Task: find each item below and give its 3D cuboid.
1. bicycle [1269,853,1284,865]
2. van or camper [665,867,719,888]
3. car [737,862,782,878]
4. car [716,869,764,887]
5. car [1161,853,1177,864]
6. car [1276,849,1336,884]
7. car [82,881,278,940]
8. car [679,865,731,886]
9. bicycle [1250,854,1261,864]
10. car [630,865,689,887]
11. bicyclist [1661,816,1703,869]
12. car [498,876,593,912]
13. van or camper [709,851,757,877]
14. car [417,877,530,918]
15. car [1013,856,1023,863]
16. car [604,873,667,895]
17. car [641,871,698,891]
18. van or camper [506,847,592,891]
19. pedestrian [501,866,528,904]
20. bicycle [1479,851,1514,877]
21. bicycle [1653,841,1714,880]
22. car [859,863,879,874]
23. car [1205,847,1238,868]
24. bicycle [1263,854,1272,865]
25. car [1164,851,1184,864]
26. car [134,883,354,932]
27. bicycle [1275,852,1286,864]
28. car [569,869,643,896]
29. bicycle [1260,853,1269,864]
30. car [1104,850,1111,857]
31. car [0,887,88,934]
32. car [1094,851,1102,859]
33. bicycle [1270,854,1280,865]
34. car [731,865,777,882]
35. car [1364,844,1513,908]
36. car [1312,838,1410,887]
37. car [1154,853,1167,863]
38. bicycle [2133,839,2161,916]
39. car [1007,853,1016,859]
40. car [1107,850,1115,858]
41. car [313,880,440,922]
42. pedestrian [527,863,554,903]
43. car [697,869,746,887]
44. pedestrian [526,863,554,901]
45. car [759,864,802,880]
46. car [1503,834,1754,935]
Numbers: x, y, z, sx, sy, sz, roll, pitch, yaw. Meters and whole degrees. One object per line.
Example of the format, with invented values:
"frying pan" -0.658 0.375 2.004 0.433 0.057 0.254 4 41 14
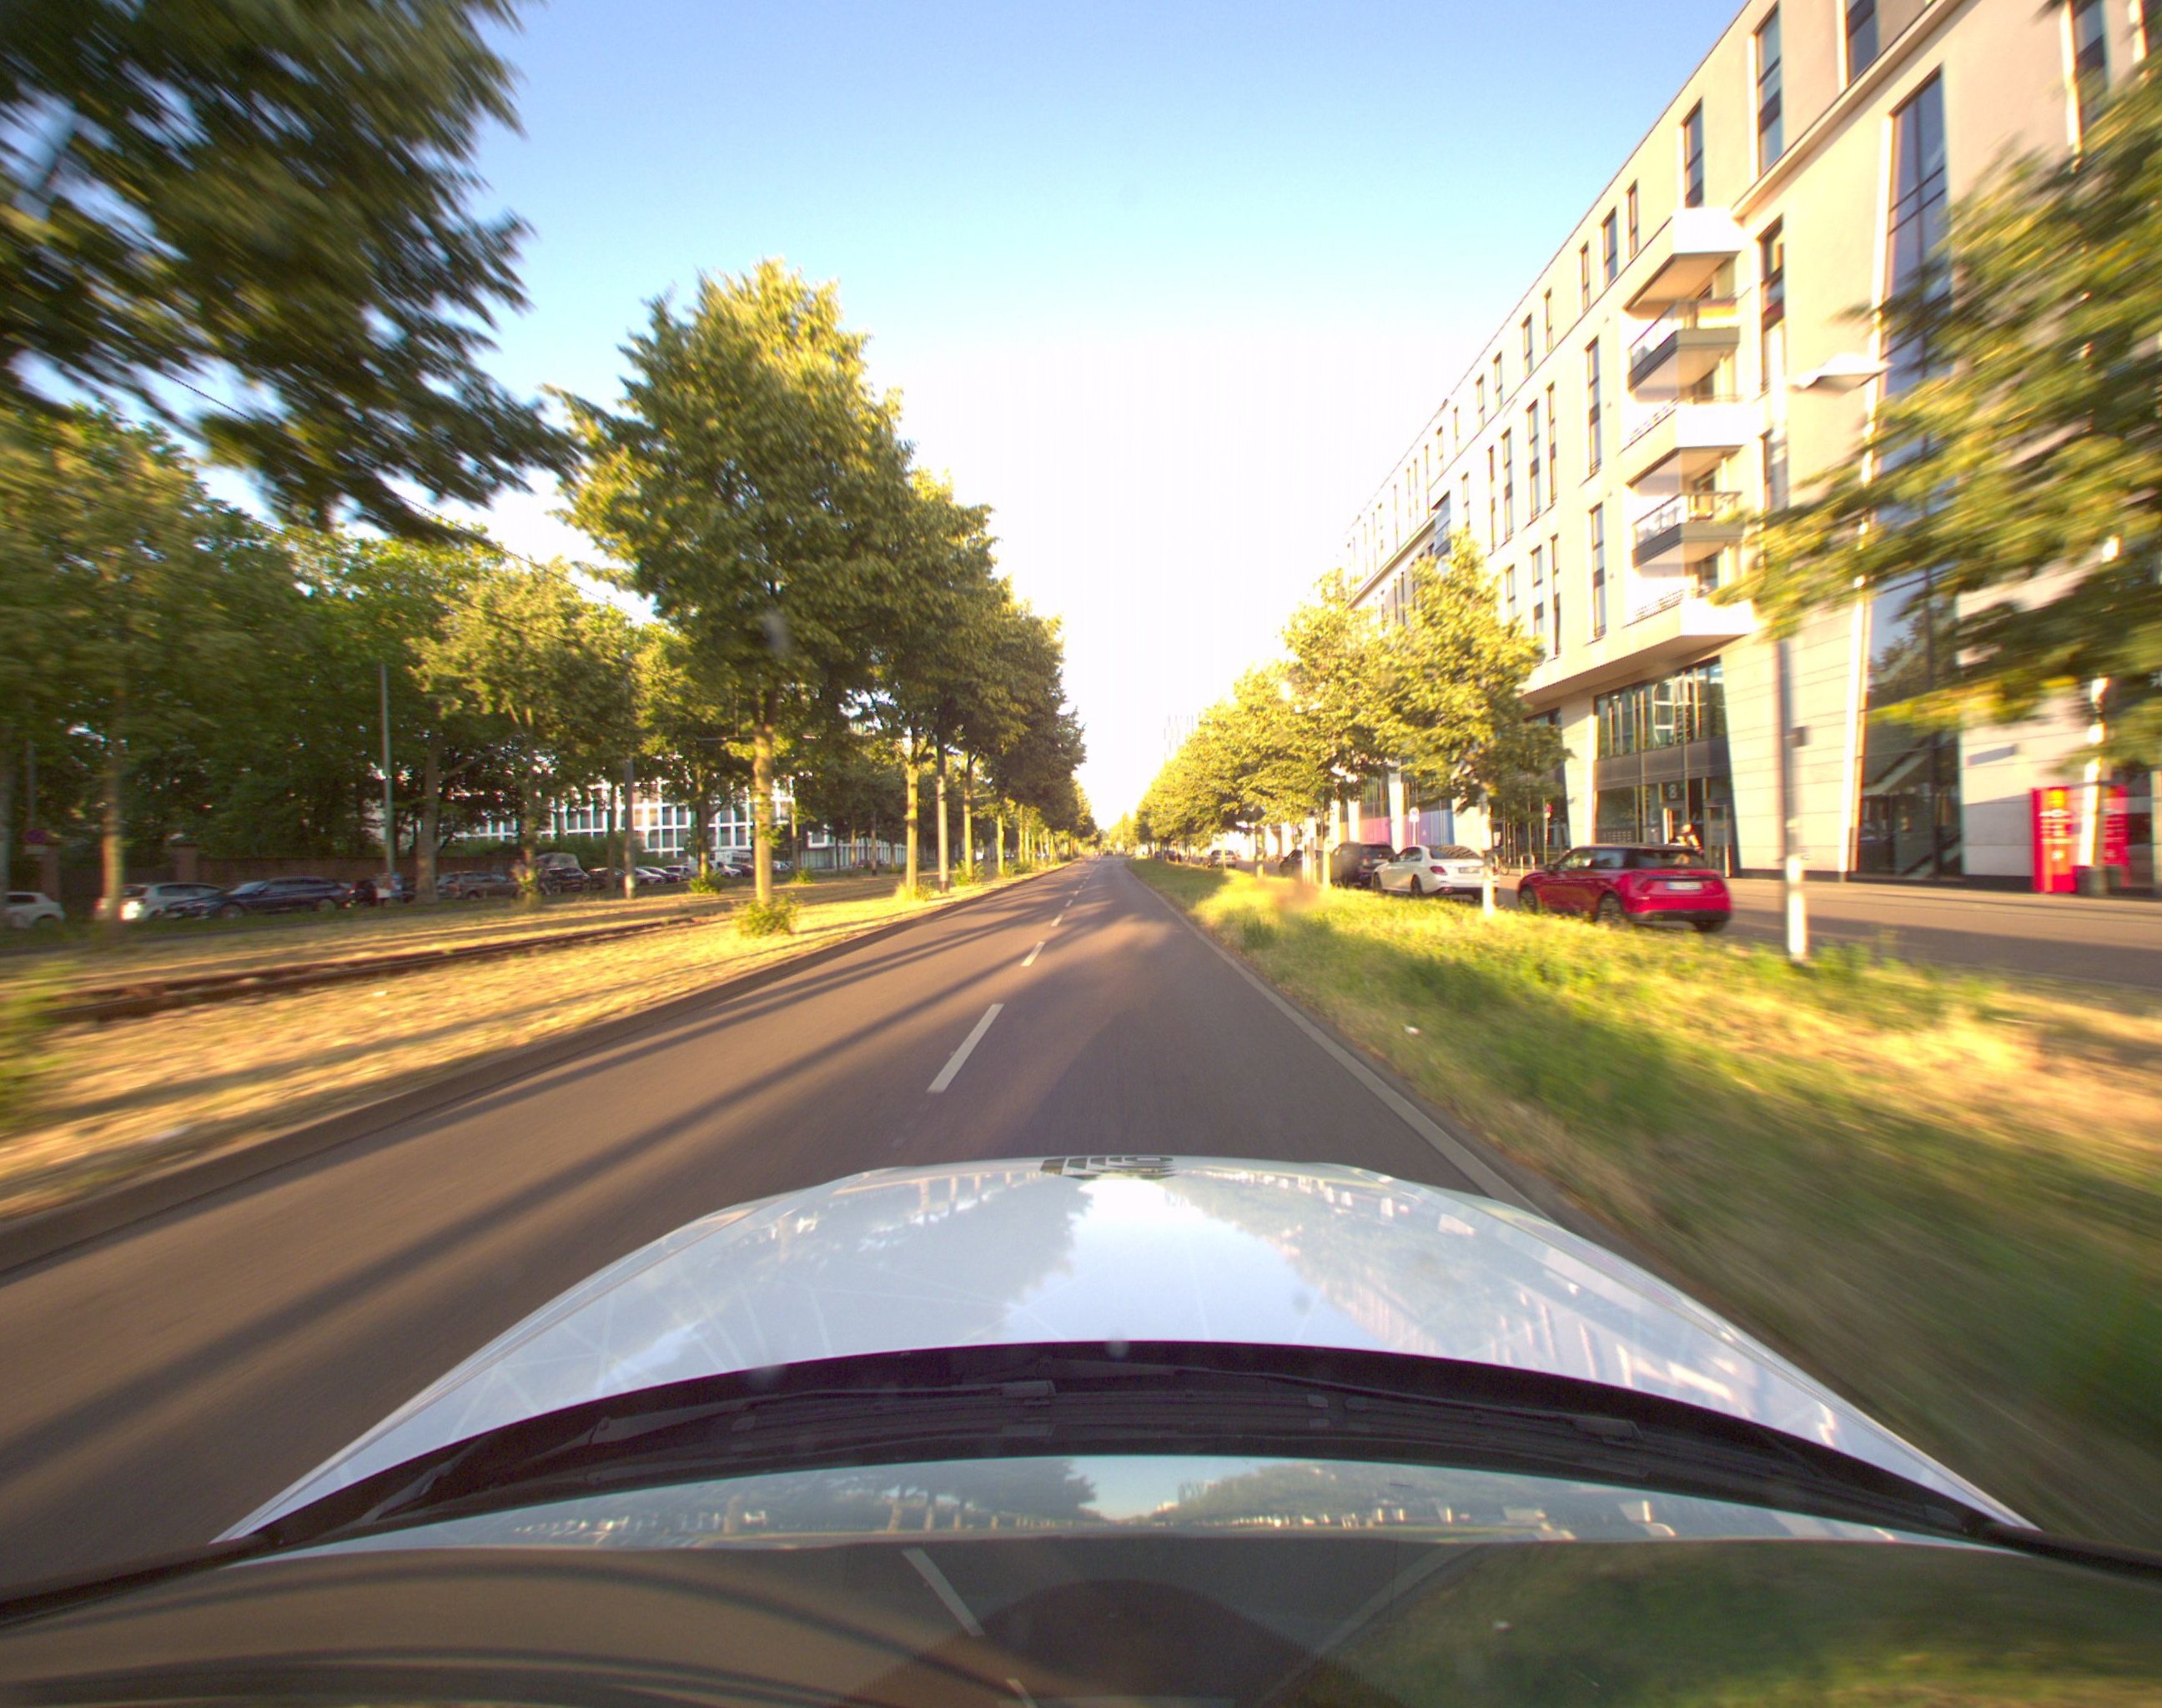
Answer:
"bicycle" 17.651 0.474 73.487 0.533 1.061 1.850 -3 0 -11
"van or camper" -35.667 2.149 74.700 3.985 1.791 1.994 -2 0 -9
"car" -34.694 1.727 87.947 3.976 1.640 1.921 -2 0 -2
"car" -34.705 2.459 82.925 3.976 1.640 1.921 -2 0 -2
"car" 12.262 0.617 114.050 1.848 1.530 4.484 0 0 1
"car" 10.106 0.521 36.886 1.717 1.501 4.234 0 0 2
"car" -31.174 1.903 28.391 1.983 1.750 4.168 -2 0 7
"car" -35.926 2.003 77.795 3.971 1.844 2.013 -2 0 2
"bicycle" 18.013 0.532 84.156 0.533 1.061 1.776 -4 0 -7
"car" -35.631 1.854 68.923 3.976 1.640 1.921 -2 0 -2
"bicyclist" 18.180 -0.343 24.654 0.542 1.568 1.021 -2 0 5
"car" -29.462 2.153 45.006 1.986 1.750 4.791 -2 0 1
"van or camper" -42.873 1.189 100.568 2.697 3.085 6.272 -1 0 5
"car" -29.356 2.058 39.535 1.983 1.750 4.168 -2 0 7
"car" -14.637 1.180 189.631 1.878 1.578 4.183 -2 0 1
"car" -36.038 2.437 65.925 3.970 1.640 1.924 -2 0 3
"car" -36.105 2.368 71.565 3.976 1.640 1.921 -2 0 -2
"van or camper" -35.785 0.971 54.986 2.078 2.735 5.494 -2 0 0
"pedestrian" -26.527 1.432 38.144 0.692 1.759 0.864 -2 -1 -6
"bicycle" 17.081 0.407 33.519 0.532 1.059 1.610 -2 0 -4
"bicycle" 18.186 0.184 24.639 0.540 1.118 1.915 -2 0 5
"car" -31.333 2.173 120.256 1.852 1.581 3.494 -1 0 2
"car" 10.840 0.244 63.185 1.802 1.501 4.826 -1 0 1
"bicycle" 18.478 0.544 80.704 0.531 1.061 1.858 -4 0 2
"car" 12.217 0.480 107.091 1.937 1.549 4.810 -2 0 0
"car" -28.584 1.767 28.148 1.984 1.315 5.150 -2 0 6
"bicycle" 18.262 0.328 74.435 0.531 1.061 1.858 -4 0 2
"car" -29.582 1.763 50.837 1.984 1.486 4.005 -2 0 5
"bicycle" 18.746 0.441 83.198 0.531 1.061 1.858 -2 0 2
"car" 7.653 -0.055 235.428 1.986 2.013 4.002 -1 0 2
"car" -37.458 1.980 27.795 1.982 1.486 4.010 -2 0 9
"car" 4.806 0.309 231.691 2.080 2.013 4.001 -1 0 1
"bicycle" 18.990 0.501 79.541 0.531 1.061 1.858 -4 0 2
"car" -34.381 2.082 85.701 3.976 1.640 1.921 -2 0 -2
"car" 9.509 0.527 22.194 1.914 1.501 5.011 -1 0 1
"car" 9.962 0.287 29.379 1.946 1.623 4.822 1 0 1
"car" 12.994 0.692 133.112 1.718 1.530 4.269 0 0 1
"bicycle" 16.398 0.343 11.522 0.544 1.128 1.868 -3 0 0
"car" -17.394 0.580 203.952 1.828 1.490 3.505 -2 0 -2
"car" 8.087 -0.085 216.567 1.986 2.013 4.001 -1 0 1
"car" -29.945 1.962 34.760 1.793 1.560 3.845 -2 0 7
"pedestrian" -25.816 1.370 38.902 0.692 1.870 0.864 -2 -1 -6
"car" -35.425 2.386 80.377 3.964 1.640 1.927 -2 0 8
"pedestrian" -25.227 1.293 37.993 0.691 1.743 0.866 -2 -1 -1
"car" -33.354 2.015 90.463 3.976 1.640 1.921 -2 0 -2
"car" 9.392 0.460 14.425 1.802 1.501 3.960 -1 0 1
